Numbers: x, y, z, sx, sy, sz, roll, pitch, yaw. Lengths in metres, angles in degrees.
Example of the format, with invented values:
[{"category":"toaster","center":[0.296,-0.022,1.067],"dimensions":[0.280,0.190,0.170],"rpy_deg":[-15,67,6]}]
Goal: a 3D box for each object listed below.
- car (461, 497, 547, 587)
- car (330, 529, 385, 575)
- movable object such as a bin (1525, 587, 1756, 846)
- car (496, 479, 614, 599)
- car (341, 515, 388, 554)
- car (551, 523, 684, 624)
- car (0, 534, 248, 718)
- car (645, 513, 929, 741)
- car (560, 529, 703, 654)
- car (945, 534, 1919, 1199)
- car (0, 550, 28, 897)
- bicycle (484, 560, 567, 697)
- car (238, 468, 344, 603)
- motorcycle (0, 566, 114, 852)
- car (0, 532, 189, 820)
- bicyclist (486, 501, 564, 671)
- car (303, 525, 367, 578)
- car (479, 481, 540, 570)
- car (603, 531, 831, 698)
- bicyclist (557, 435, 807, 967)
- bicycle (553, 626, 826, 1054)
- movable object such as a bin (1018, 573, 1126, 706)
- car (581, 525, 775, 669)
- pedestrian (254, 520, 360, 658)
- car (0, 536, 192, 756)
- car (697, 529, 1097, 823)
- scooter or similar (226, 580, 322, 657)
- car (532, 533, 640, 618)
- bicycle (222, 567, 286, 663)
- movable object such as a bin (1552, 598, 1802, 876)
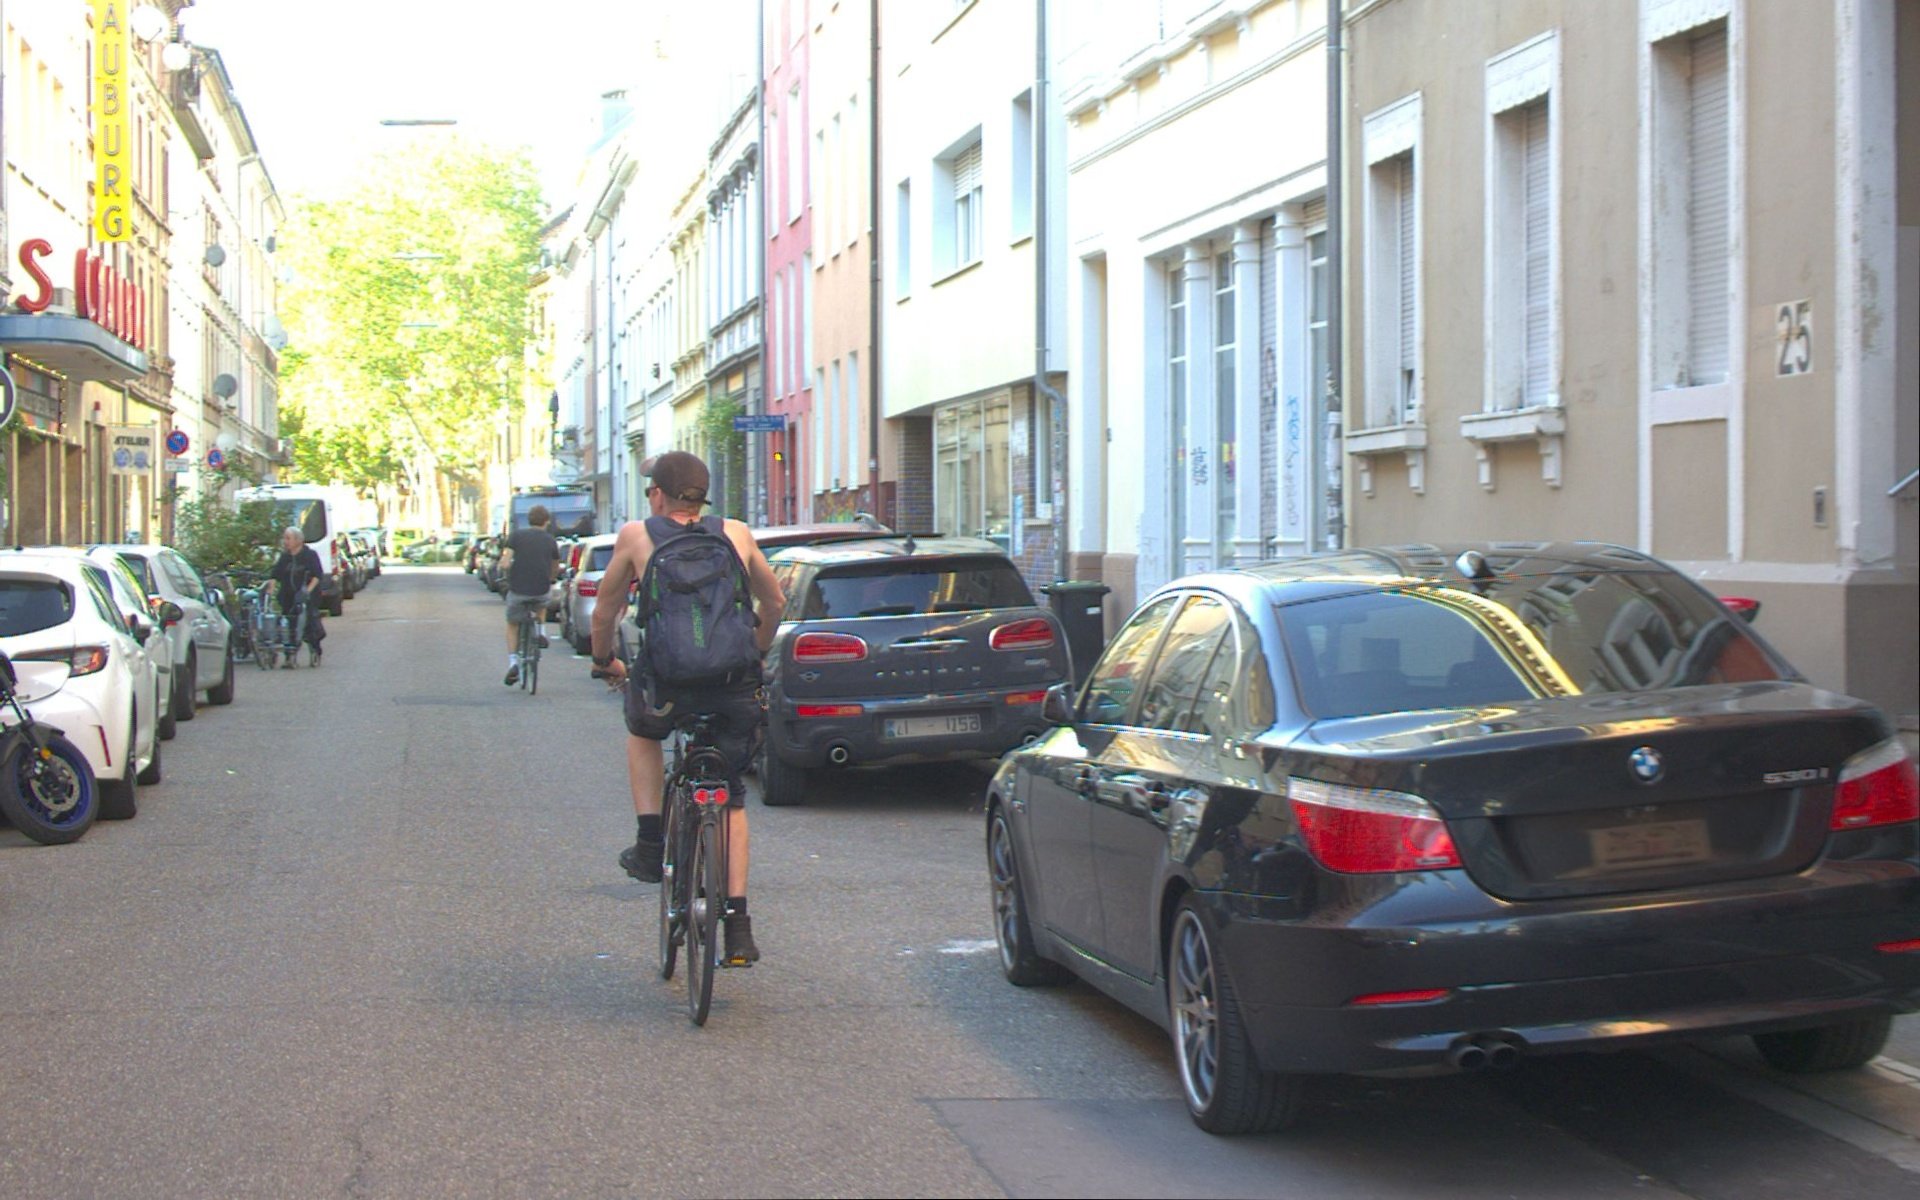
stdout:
[{"category":"car","center":[-13.739,-1.729,103.261],"dimensions":[2.307,2.529,6.771],"rpy_deg":[-2,1,-9]},{"category":"car","center":[-19.999,-1.580,114.160],"dimensions":[1.671,1.437,4.166],"rpy_deg":[-2,1,-9]},{"category":"movable object such as a bin","center":[3.003,0.505,15.227],"dimensions":[0.807,1.071,0.677],"rpy_deg":[-3,1,-4]},{"category":"car","center":[-9.259,-1.378,78.193],"dimensions":[2.307,2.529,6.771],"rpy_deg":[-2,1,-9]},{"category":"car","center":[-23.159,-2.526,133.705],"dimensions":[1.671,1.437,4.166],"rpy_deg":[-2,1,-9]},{"category":"car","center":[-5.163,-0.409,51.481],"dimensions":[1.710,1.389,4.001],"rpy_deg":[-2,1,-9]},{"category":"car","center":[-7.243,0.185,29.843],"dimensions":[1.671,1.437,3.754],"rpy_deg":[-2,1,-6]},{"category":"car","center":[-1.406,0.165,26.409],"dimensions":[1.710,1.551,4.001],"rpy_deg":[-2,1,-9]},{"category":"car","center":[-4.446,-0.140,46.161],"dimensions":[1.620,1.545,4.001],"rpy_deg":[-2,1,-9]},{"category":"car","center":[1.238,0.566,10.183],"dimensions":[1.816,1.433,4.792],"rpy_deg":[-2,1,-9]},{"category":"car","center":[-4.560,0.586,12.257],"dimensions":[1.710,1.378,4.357],"rpy_deg":[-2,2,-7]},{"category":"bicycle","center":[-4.179,0.250,32.970],"dimensions":[0.702,1.203,2.343],"rpy_deg":[0,2,-9]},{"category":"car","center":[-12.868,-1.246,66.193],"dimensions":[1.909,2.488,4.167],"rpy_deg":[-1,1,-11]},{"category":"motorcycle","center":[-5.279,0.572,16.692],"dimensions":[2.146,1.354,0.540],"rpy_deg":[-4,2,-26]},{"category":"car","center":[-5.376,0.378,19.414],"dimensions":[1.671,1.437,4.166],"rpy_deg":[-2,1,-9]},{"category":"bicyclist","center":[-4.163,-0.145,32.874],"dimensions":[0.702,1.599,0.813],"rpy_deg":[0,2,-9]},{"category":"car","center":[-17.936,-1.382,98.758],"dimensions":[1.671,1.437,4.166],"rpy_deg":[-2,1,-9]},{"category":"car","center":[-19.713,-3.227,150.273],"dimensions":[2.307,3.755,6.771],"rpy_deg":[-2,1,-9]},{"category":"car","center":[-2.298,0.098,31.626],"dimensions":[1.710,1.378,4.001],"rpy_deg":[-2,1,-9]},{"category":"bicyclist","center":[-0.919,0.308,11.121],"dimensions":[0.702,1.627,1.090],"rpy_deg":[1,0,-9]},{"category":"bicycle","center":[-0.928,0.714,11.230],"dimensions":[0.702,1.204,2.343],"rpy_deg":[1,0,-9]},{"category":"movable object such as a bin","center":[0.951,0.332,29.376],"dimensions":[0.807,1.071,0.677],"rpy_deg":[-3,1,-4]},{"category":"car","center":[-3.044,-0.061,36.480],"dimensions":[1.710,1.378,4.001],"rpy_deg":[-2,1,-9]},{"category":"pedestrian","center":[-7.551,-0.132,39.765],"dimensions":[0.898,1.573,0.773],"rpy_deg":[1,1,-45]},{"category":"car","center":[-6.568,0.295,24.898],"dimensions":[1.671,1.437,3.769],"rpy_deg":[-2,1,-9]},{"category":"car","center":[-0.484,0.383,20.665],"dimensions":[1.816,1.516,4.001],"rpy_deg":[-2,1,-9]},{"category":"scooter or similar","center":[-7.869,0.211,39.457],"dimensions":[0.768,0.870,0.773],"rpy_deg":[1,1,-45]},{"category":"car","center":[-6.837,-0.459,62.547],"dimensions":[1.710,1.442,4.001],"rpy_deg":[-2,1,-9]},{"category":"bicycle","center":[-8.485,0.167,41.281],"dimensions":[0.699,1.102,2.275],"rpy_deg":[1,1,-13]},{"category":"movable object such as a bin","center":[2.952,0.549,14.192],"dimensions":[0.736,1.071,0.678],"rpy_deg":[-3,1,-15]}]
